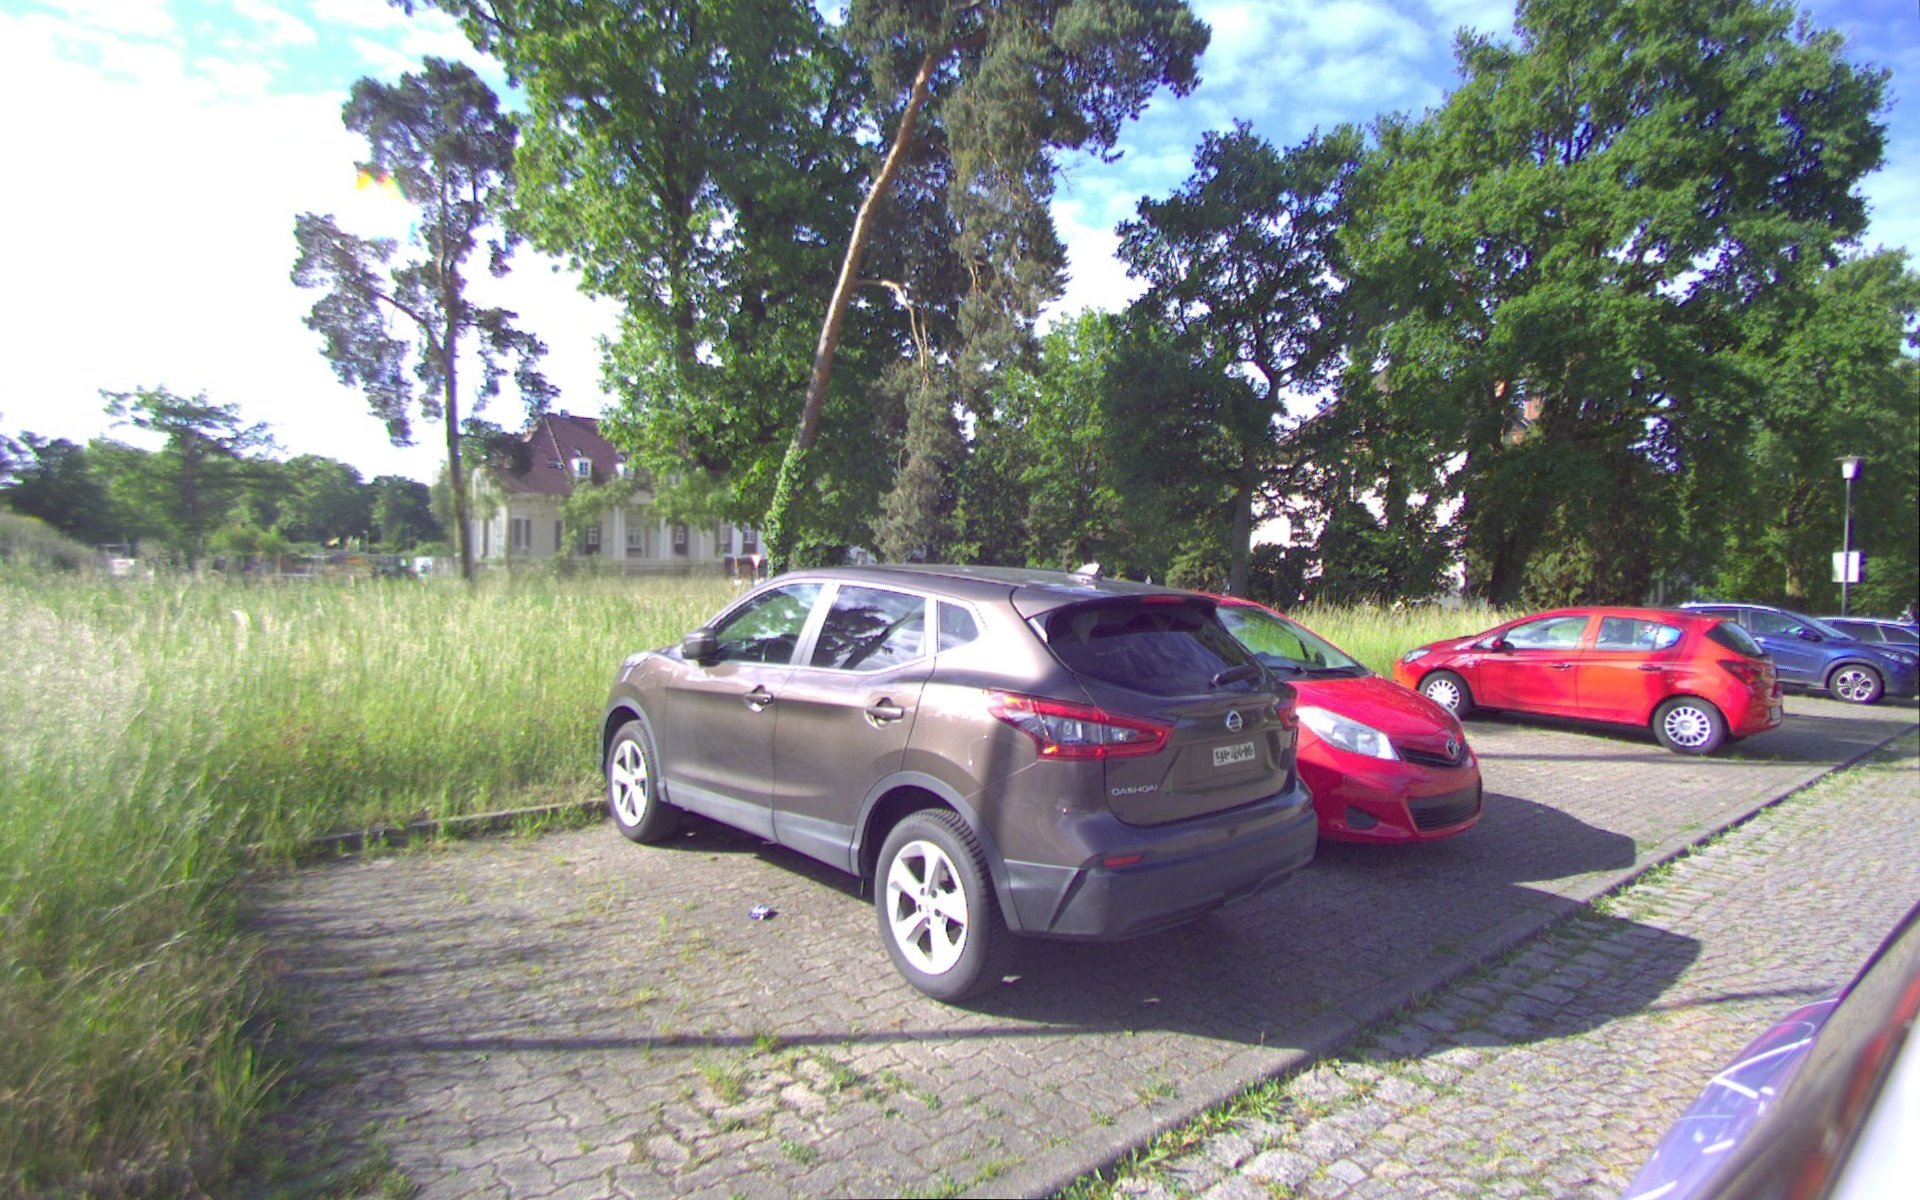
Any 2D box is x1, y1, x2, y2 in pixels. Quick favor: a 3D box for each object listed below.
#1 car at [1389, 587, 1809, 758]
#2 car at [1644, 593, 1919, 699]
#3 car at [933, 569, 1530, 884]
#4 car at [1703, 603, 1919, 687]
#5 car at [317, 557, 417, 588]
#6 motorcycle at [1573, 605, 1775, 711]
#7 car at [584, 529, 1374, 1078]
[{"bbox_3d":[7.320,0.703,11.897,1.617,1.497,3.835,1,3,-41],"label":"car"},{"bbox_3d":[15.114,0.751,18.335,1.720,1.611,4.185,1,1,-41],"label":"car"},{"bbox_3d":[1.626,0.604,7.079,1.616,1.549,3.771,1,1,-40],"label":"car"},{"bbox_3d":[18.627,0.926,21.303,1.682,1.425,4.464,1,3,-37],"label":"car"},{"bbox_3d":[-42.922,-1.984,73.396,5.888,2.198,2.381,0,1,-17],"label":"car"},{"bbox_3d":[10.527,0.806,15.006,0.713,1.336,2.305,1,2,-40],"label":"motorcycle"},{"bbox_3d":[-0.256,0.552,5.089,1.741,1.642,3.943,1,1,-41],"label":"car"}]
